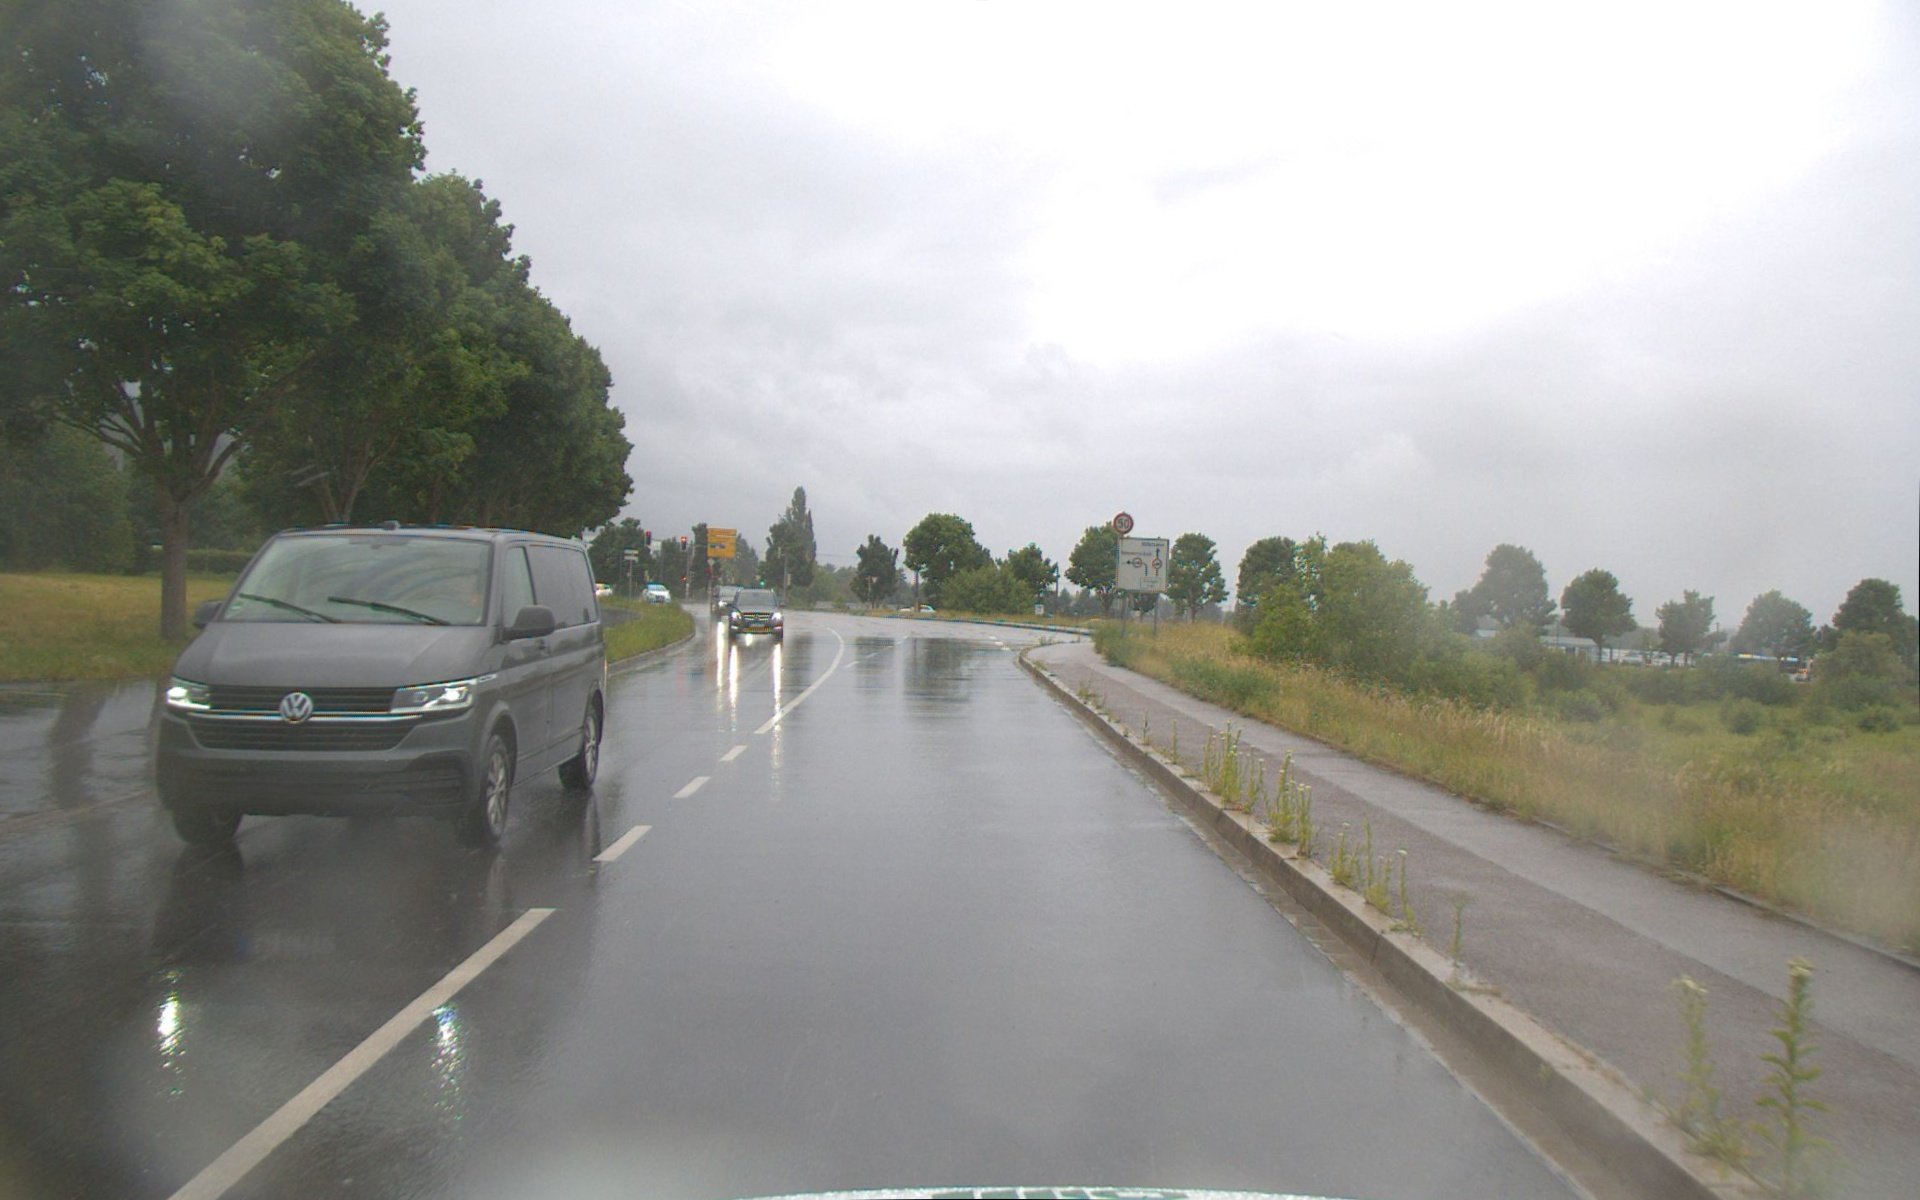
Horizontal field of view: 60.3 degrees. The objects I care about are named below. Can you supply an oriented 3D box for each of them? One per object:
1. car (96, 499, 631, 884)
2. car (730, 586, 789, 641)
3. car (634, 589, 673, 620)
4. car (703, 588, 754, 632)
[{"bbox_3d":[-3.624,0.490,11.181,1.953,2.007,4.955,1,0,-2],"label":"car"},{"bbox_3d":[-6.761,0.430,55.451,1.869,1.751,3.993,-1,0,-8],"label":"car"},{"bbox_3d":[-23.436,0.318,126.395,1.967,2.048,3.973,5,0,-23],"label":"car"},{"bbox_3d":[-11.971,0.497,85.383,1.961,2.048,3.984,5,0,-16],"label":"car"}]
